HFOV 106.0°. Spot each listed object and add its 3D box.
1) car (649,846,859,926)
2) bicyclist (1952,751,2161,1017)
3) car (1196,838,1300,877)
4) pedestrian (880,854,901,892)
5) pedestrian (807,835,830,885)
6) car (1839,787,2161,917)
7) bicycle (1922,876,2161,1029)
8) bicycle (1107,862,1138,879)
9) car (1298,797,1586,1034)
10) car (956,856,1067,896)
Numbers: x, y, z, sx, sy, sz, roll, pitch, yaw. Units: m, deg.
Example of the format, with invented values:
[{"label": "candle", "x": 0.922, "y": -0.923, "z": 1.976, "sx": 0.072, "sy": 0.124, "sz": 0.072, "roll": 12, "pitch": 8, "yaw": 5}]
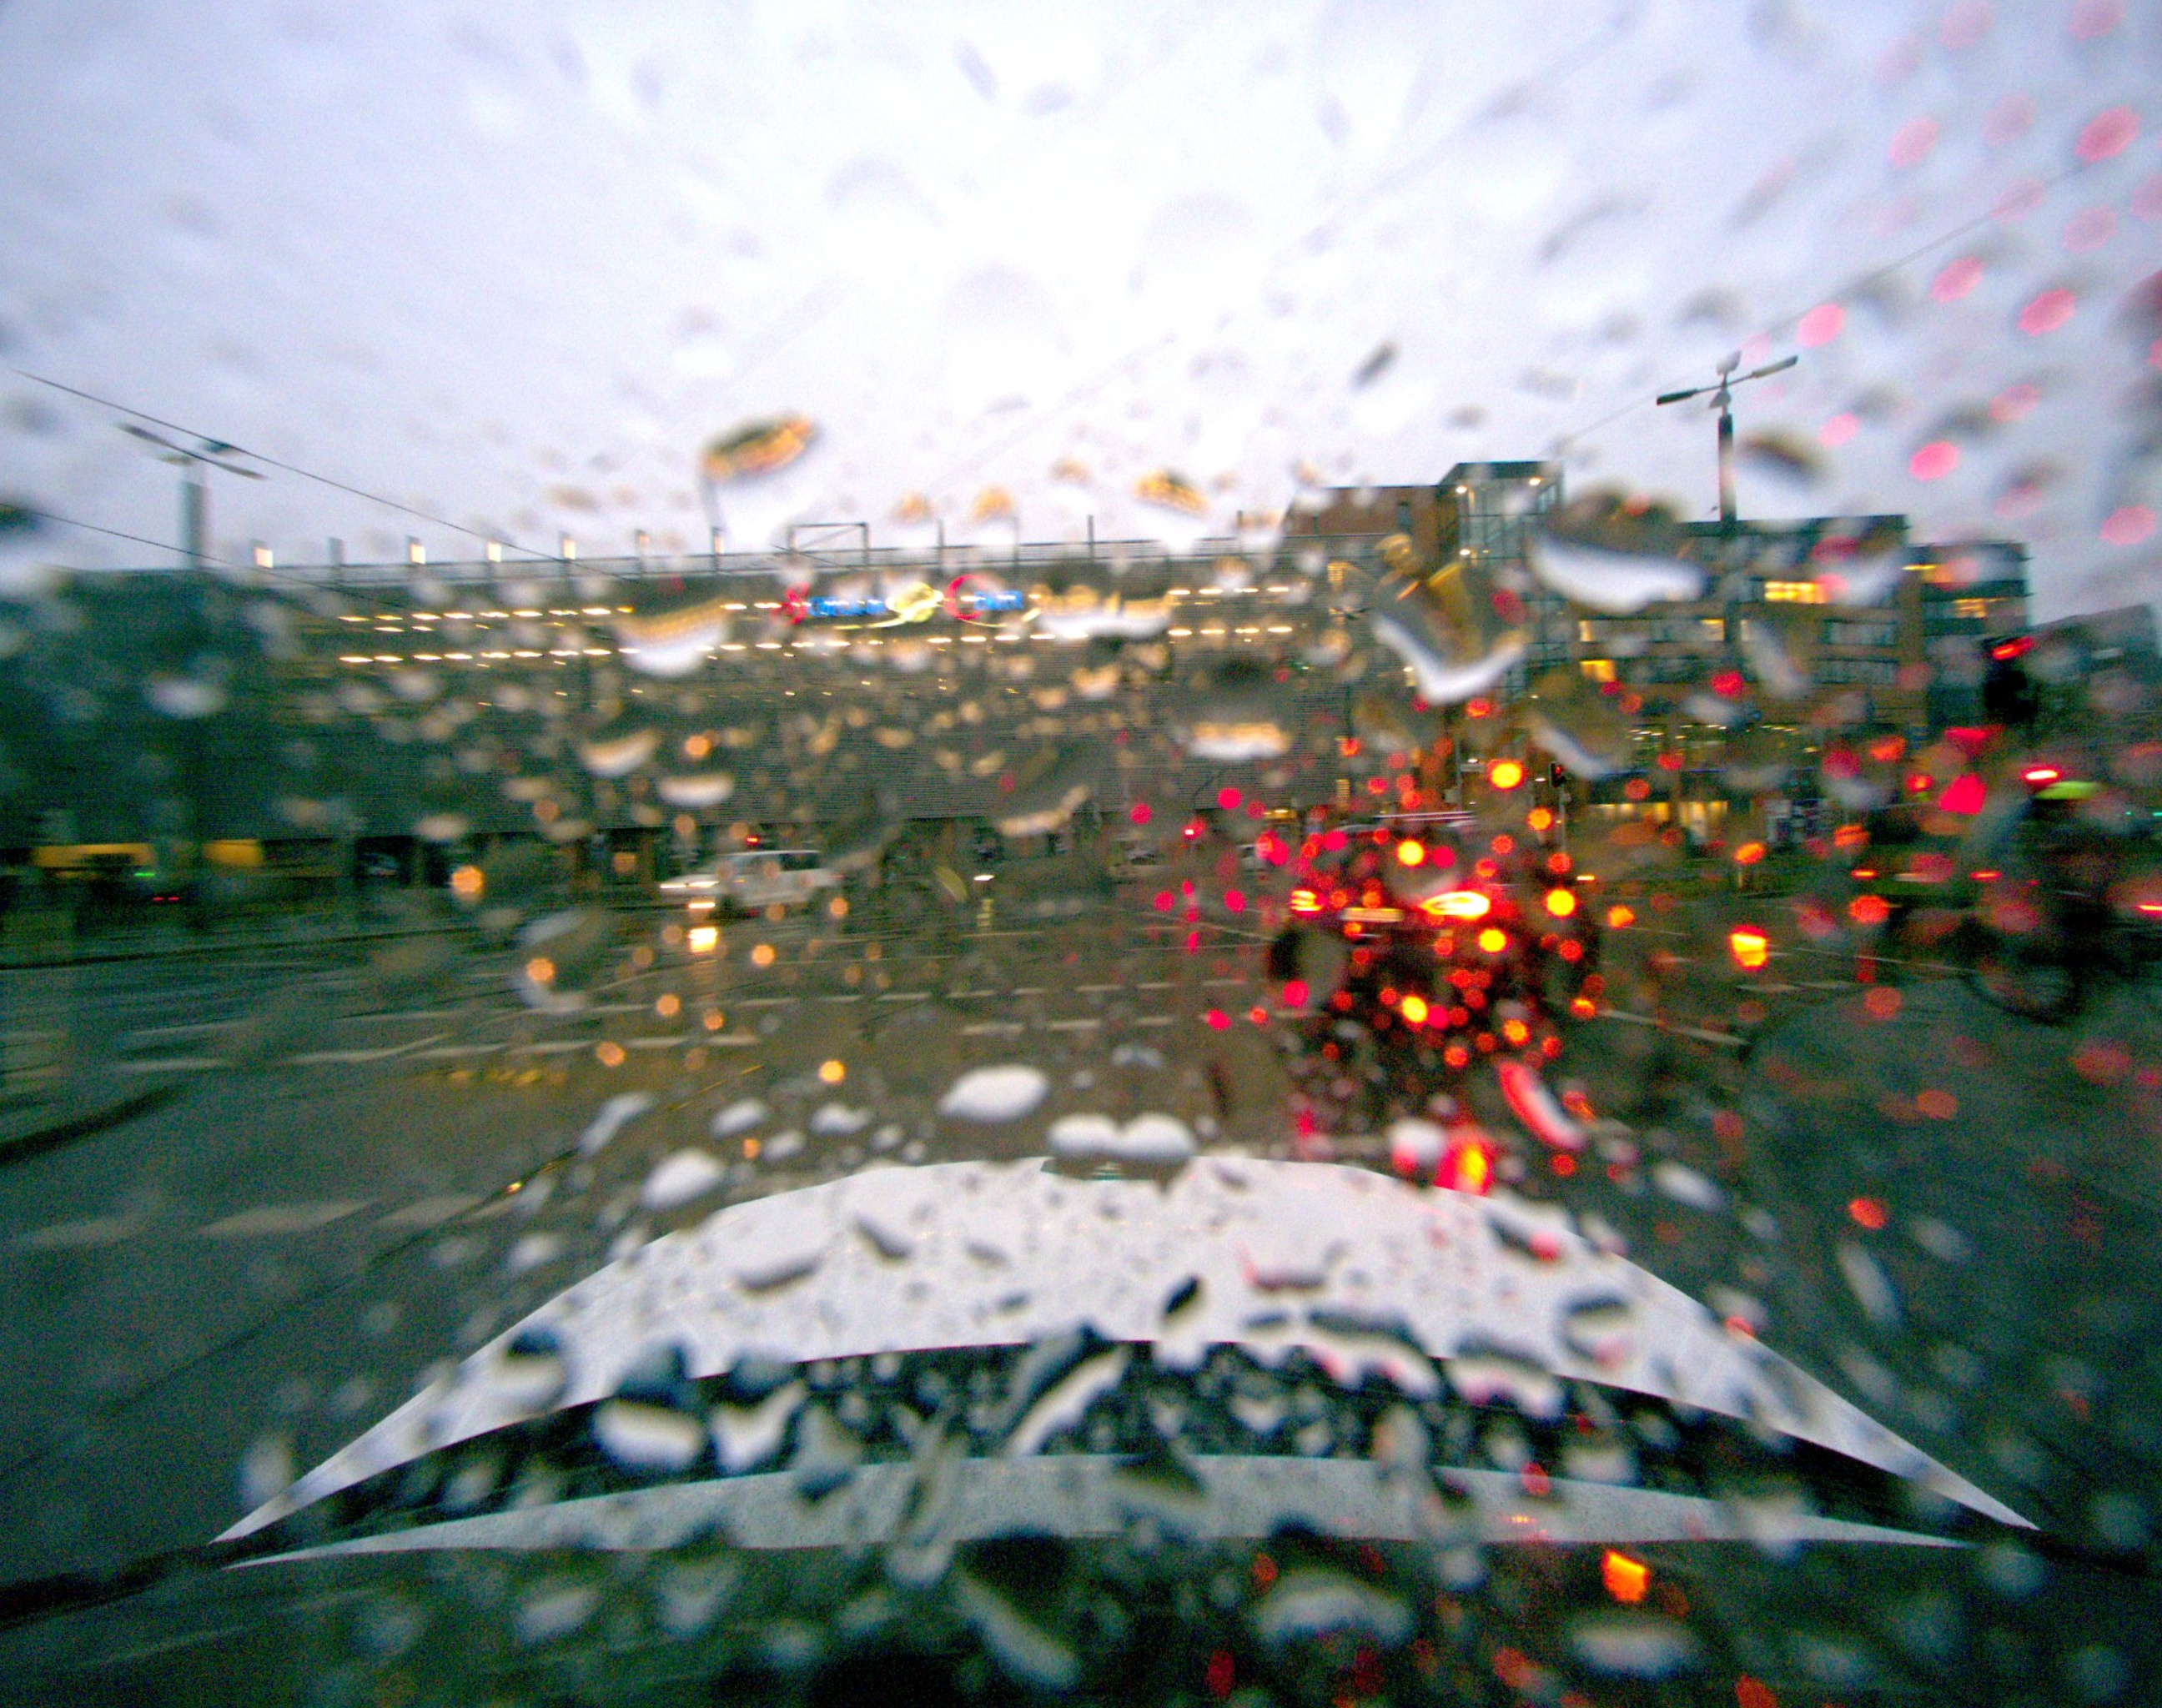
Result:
[{"label": "car", "x": -9.565, "y": 0.862, "z": 24.394, "sx": 1.928, "sy": 2.059, "sz": 5.697, "roll": -2, "pitch": 0, "yaw": 34}, {"label": "bicyclist", "x": 7.685, "y": 0.214, "z": 6.308, "sx": 0.786, "sy": 1.890, "sz": 0.991, "roll": -2, "pitch": -1, "yaw": 8}, {"label": "car", "x": 8.138, "y": 0.172, "z": 39.904, "sx": 4.591, "sy": 1.719, "sz": 1.924, "roll": -2, "pitch": 0, "yaw": -8}, {"label": "pedestrian", "x": -12.412, "y": 1.261, "z": 52.986, "sx": 1.106, "sy": 2.439, "sz": 0.966, "roll": -1, "pitch": -1, "yaw": 1}, {"label": "pedestrian", "x": -15.429, "y": 0.359, "z": 47.816, "sx": 0.959, "sy": 2.925, "sz": 1.114, "roll": -1, "pitch": -1, "yaw": 2}, {"label": "car", "x": 14.934, "y": -0.063, "z": 13.027, "sx": 4.475, "sy": 1.806, "sz": 1.842, "roll": -2, "pitch": 0, "yaw": -12}, {"label": "bicycle", "x": 7.777, "y": 0.693, "z": 6.360, "sx": 0.651, "sy": 0.973, "sz": 1.871, "roll": -2, "pitch": 0, "yaw": 8}, {"label": "bicycle", "x": 2.777, "y": 1.118, "z": 55.060, "sx": 2.077, "sy": 1.122, "sz": 0.477, "roll": -1, "pitch": -1, "yaw": 0}, {"label": "car", "x": 3.824, "y": 0.470, "z": 8.218, "sx": 1.658, "sy": 1.779, "sz": 4.025, "roll": 0, "pitch": 0, "yaw": 39}, {"label": "car", "x": -2.827, "y": 0.868, "z": 33.872, "sx": 4.446, "sy": 1.444, "sz": 1.610, "roll": -2, "pitch": 0, "yaw": -40}]
